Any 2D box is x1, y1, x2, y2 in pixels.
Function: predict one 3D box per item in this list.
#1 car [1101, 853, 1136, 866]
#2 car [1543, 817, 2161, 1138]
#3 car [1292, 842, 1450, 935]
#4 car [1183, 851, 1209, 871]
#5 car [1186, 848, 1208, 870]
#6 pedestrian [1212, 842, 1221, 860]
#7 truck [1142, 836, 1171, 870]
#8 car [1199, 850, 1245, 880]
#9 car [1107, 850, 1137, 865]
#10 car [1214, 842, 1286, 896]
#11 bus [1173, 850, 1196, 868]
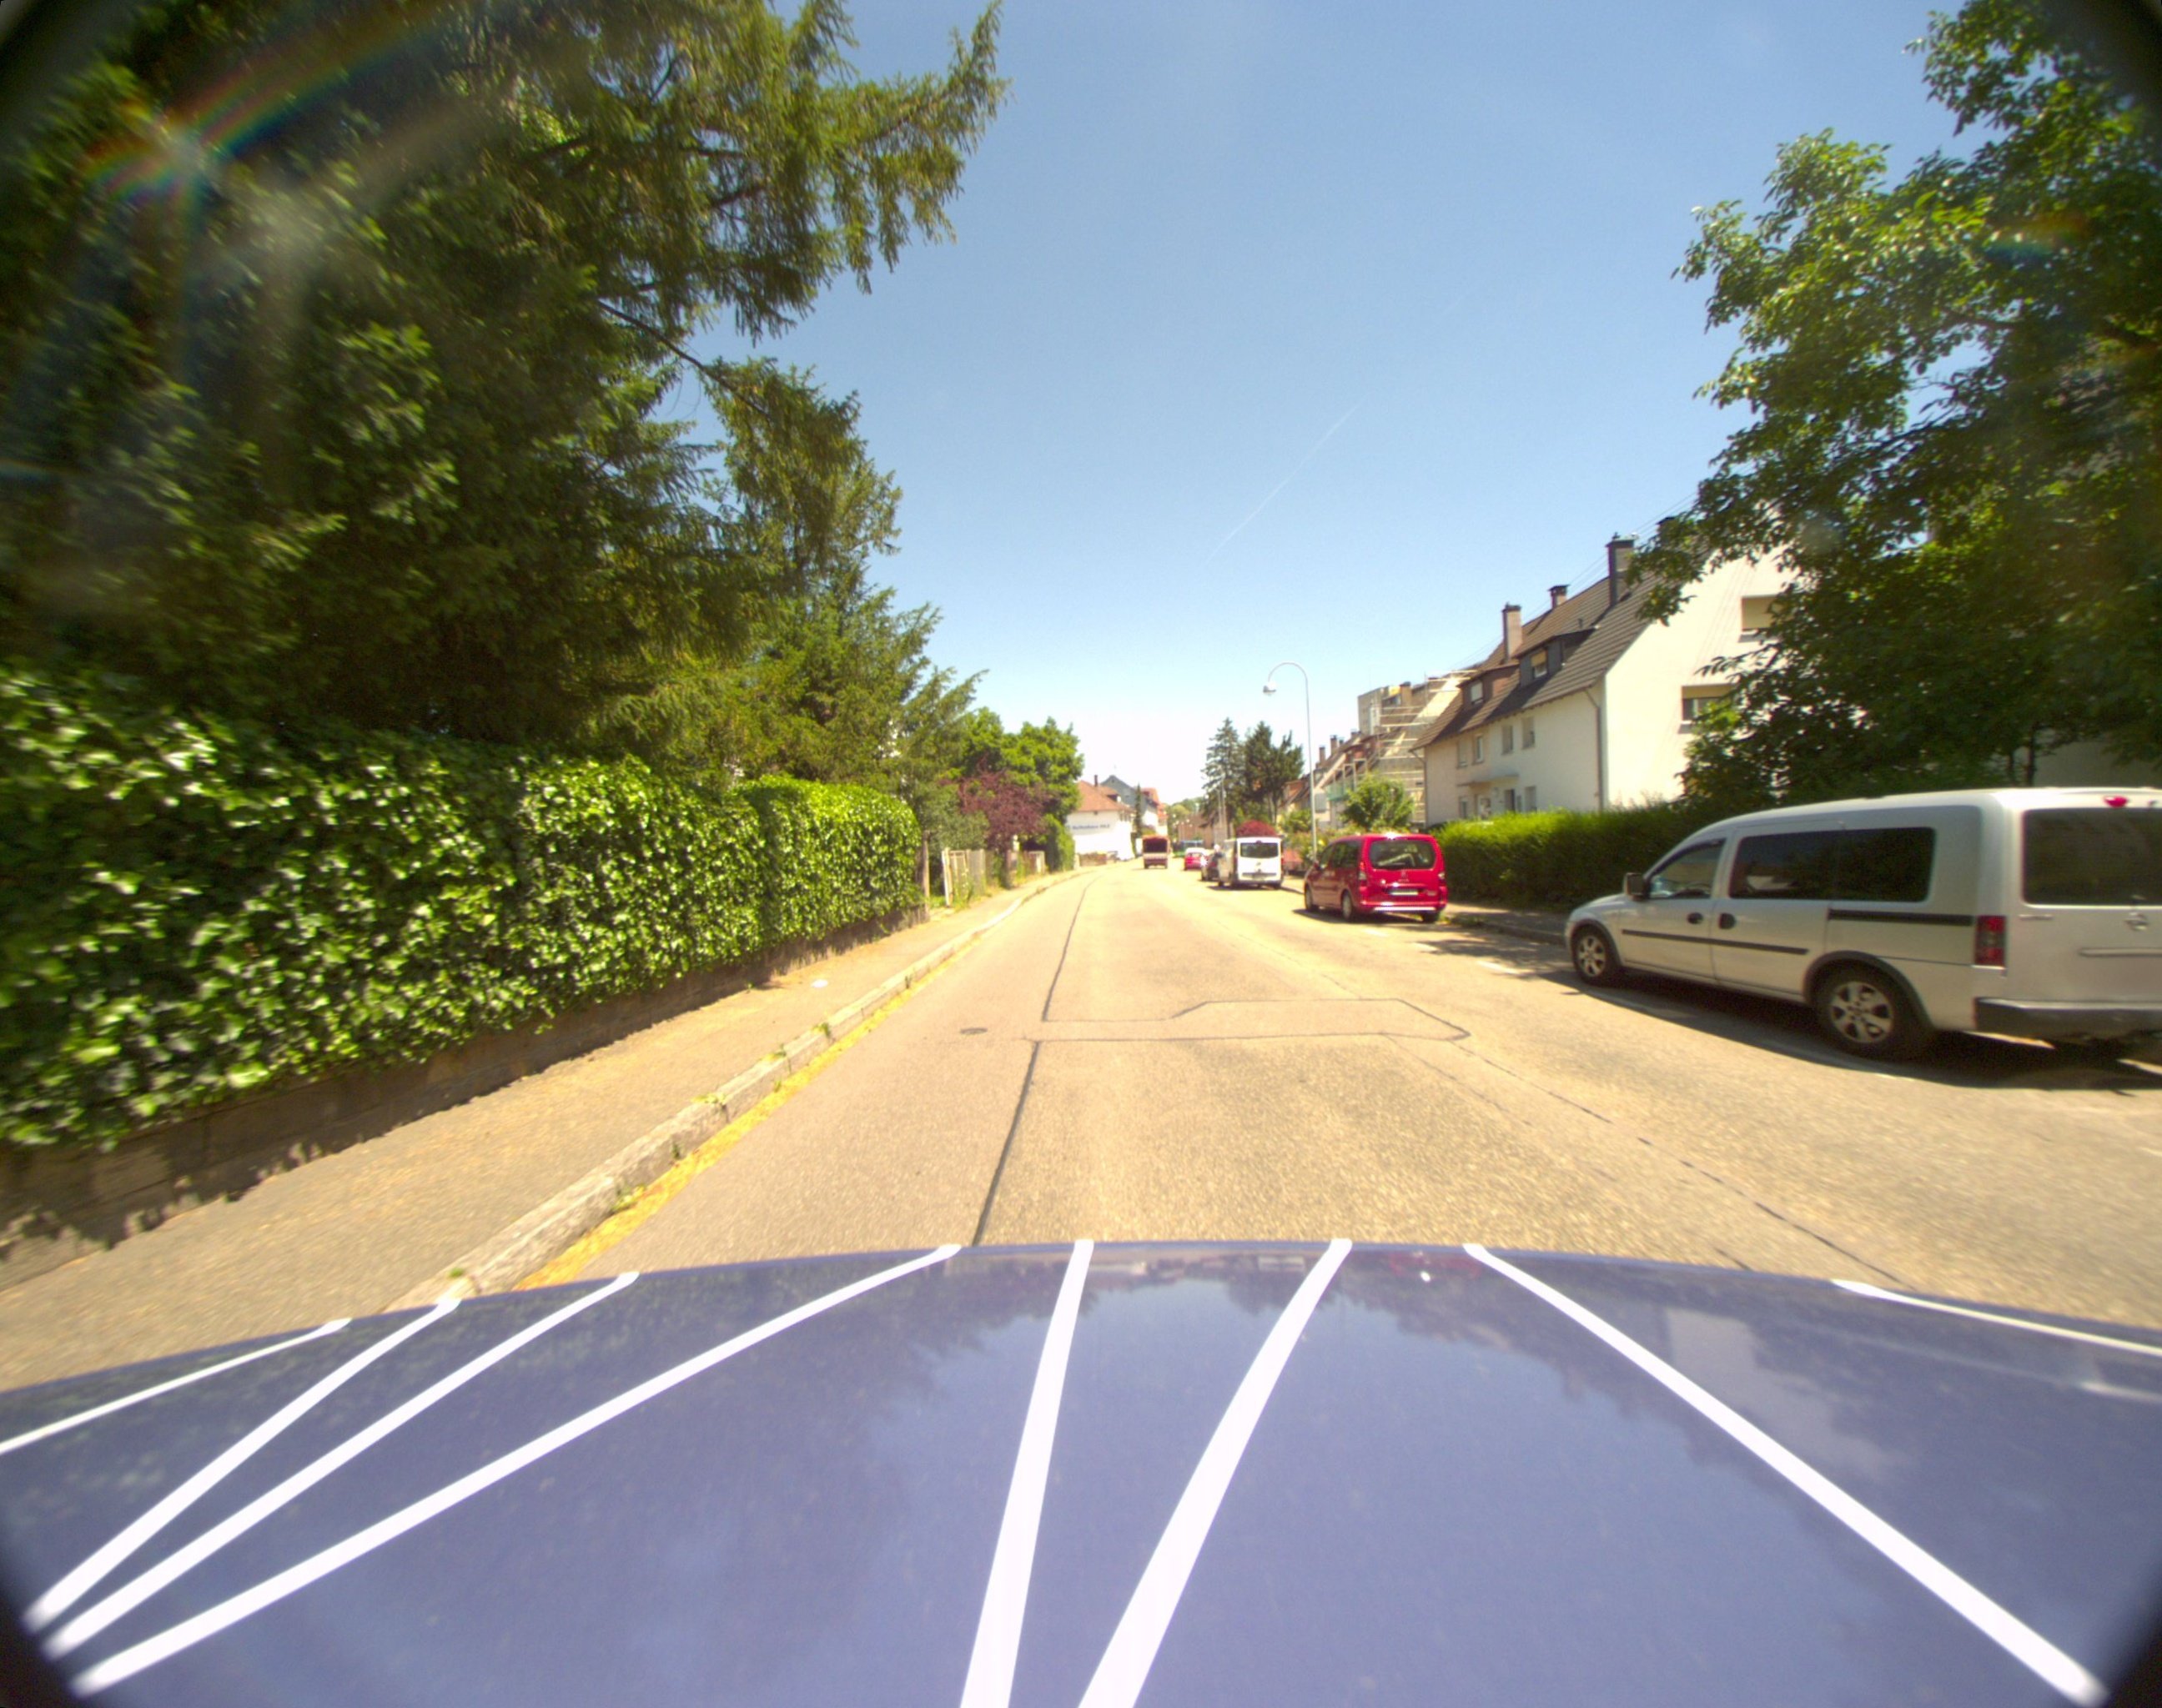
[{"bbox_3d":[5.407,0.843,109.698,4.647,1.400,1.770,-5,0,13],"label":"car"},{"bbox_3d":[5.923,0.658,6.290,1.652,1.742,4.354,-1,0,2],"label":"car"},{"bbox_3d":[6.042,0.644,16.416,1.762,1.717,4.458,-1,0,1],"label":"car"},{"bbox_3d":[8.688,0.490,57.365,1.763,1.469,4.061,0,0,11],"label":"car"},{"bbox_3d":[9.494,0.370,62.481,1.726,1.726,3.889,0,1,8],"label":"car"},{"bbox_3d":[14.473,-0.347,81.339,0.690,1.878,1.019,-7,0,14],"label":"pedestrian"},{"bbox_3d":[6.581,-0.137,66.568,2.378,2.813,5.660,-1,0,5],"label":"truck"},{"bbox_3d":[6.818,0.511,37.022,1.702,1.376,4.236,0,0,4],"label":"car"},{"bbox_3d":[6.046,0.561,112.178,4.300,1.820,1.740,-5,0,4],"label":"car"},{"bbox_3d":[6.518,0.536,29.832,1.891,1.870,4.981,-1,0,2],"label":"car"},{"bbox_3d":[19.628,0.817,143.226,2.908,3.062,12.573,-2,1,14],"label":"bus"}]
